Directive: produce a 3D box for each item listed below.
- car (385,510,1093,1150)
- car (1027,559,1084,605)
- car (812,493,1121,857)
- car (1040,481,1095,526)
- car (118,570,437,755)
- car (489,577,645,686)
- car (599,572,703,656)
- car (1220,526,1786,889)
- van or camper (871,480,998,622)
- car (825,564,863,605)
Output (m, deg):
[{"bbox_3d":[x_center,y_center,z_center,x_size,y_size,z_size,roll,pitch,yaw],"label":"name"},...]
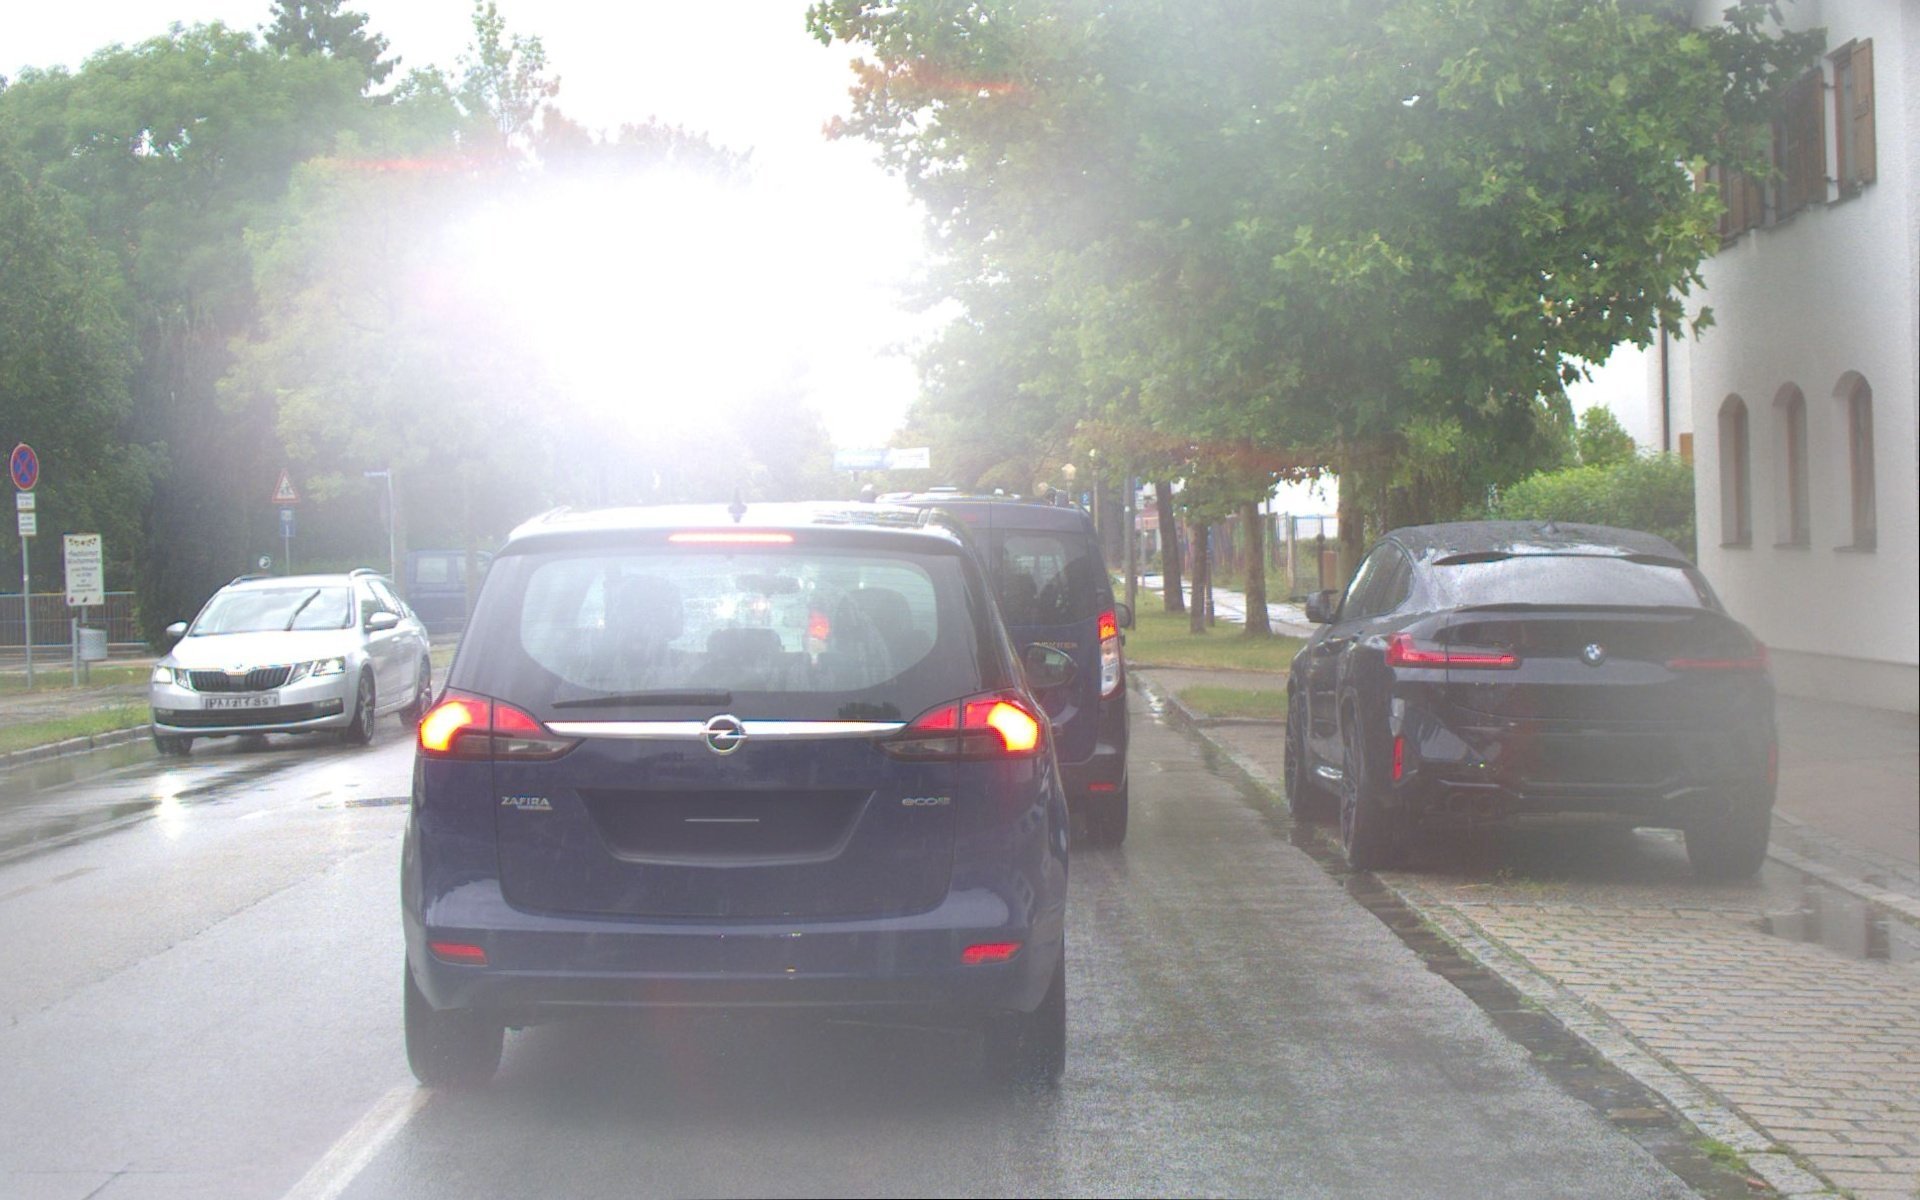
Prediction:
[{"bbox_3d":[-0.555,0.550,10.440,1.768,1.599,3.663,0,1,0],"label":"car"},{"bbox_3d":[2.924,-0.561,105.406,1.630,1.373,3.623,0,0,0],"label":"car"},{"bbox_3d":[0.032,0.344,18.287,1.500,1.770,3.112,0,1,0],"label":"car"},{"bbox_3d":[3.582,-3.213,114.884,1.630,1.373,3.623,-3,1,0],"label":"car"},{"bbox_3d":[-5.807,0.485,29.725,1.778,1.371,4.184,-3,1,1],"label":"car"},{"bbox_3d":[-5.519,0.412,48.726,1.580,1.371,4.184,-3,1,1],"label":"car"},{"bbox_3d":[-5.559,0.233,62.113,1.473,1.371,3.208,-3,1,1],"label":"car"},{"bbox_3d":[2.503,0.450,16.879,2.117,1.576,3.936,0,0,-1],"label":"car"},{"bbox_3d":[-0.485,-0.973,68.546,2.360,2.656,5.372,-2,1,0],"label":"van or camper"},{"bbox_3d":[-4.702,-0.634,139.717,1.476,1.618,3.691,0,0,-1],"label":"car"}]
